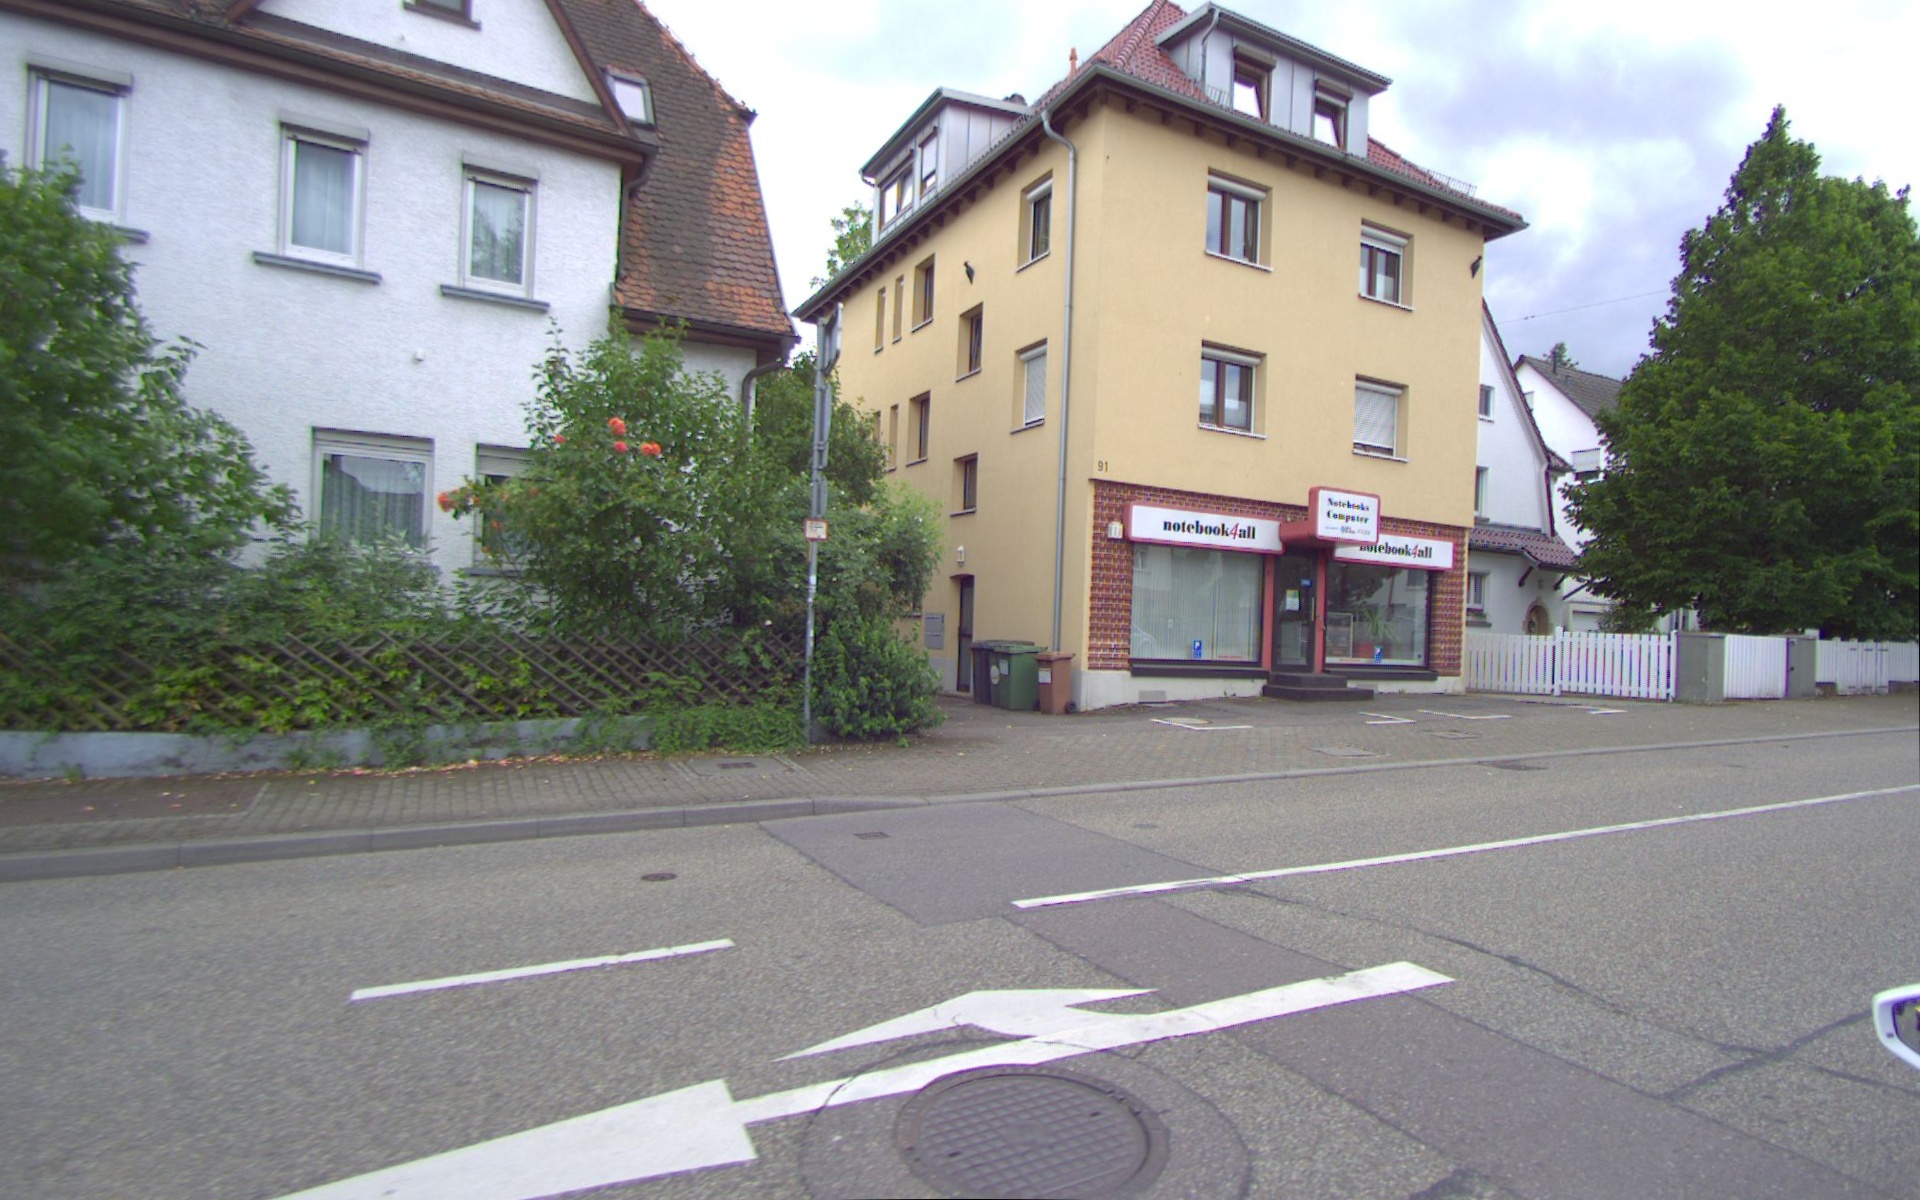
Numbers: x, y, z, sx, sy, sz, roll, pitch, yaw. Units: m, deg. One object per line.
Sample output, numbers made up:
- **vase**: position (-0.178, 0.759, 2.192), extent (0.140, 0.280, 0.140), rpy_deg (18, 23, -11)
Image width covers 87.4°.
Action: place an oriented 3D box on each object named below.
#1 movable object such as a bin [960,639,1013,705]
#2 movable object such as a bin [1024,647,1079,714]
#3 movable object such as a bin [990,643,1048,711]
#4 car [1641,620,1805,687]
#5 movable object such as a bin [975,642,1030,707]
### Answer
- **movable object such as a bin**: position (0.443, 1.211, 16.879), extent (0.680, 1.055, 0.552), rpy_deg (4, -3, -24)
- **movable object such as a bin**: position (1.385, 1.219, 15.265), extent (0.598, 0.961, 0.552), rpy_deg (4, -3, -24)
- **movable object such as a bin**: position (0.923, 1.210, 15.773), extent (0.680, 1.016, 0.552), rpy_deg (4, -3, -24)
- **car**: position (19.575, 1.350, 25.728), extent (4.566, 1.585, 1.797), rpy_deg (2, -3, -31)
- **movable object such as a bin**: position (0.681, 1.205, 16.330), extent (0.680, 1.016, 0.552), rpy_deg (4, -3, -24)
